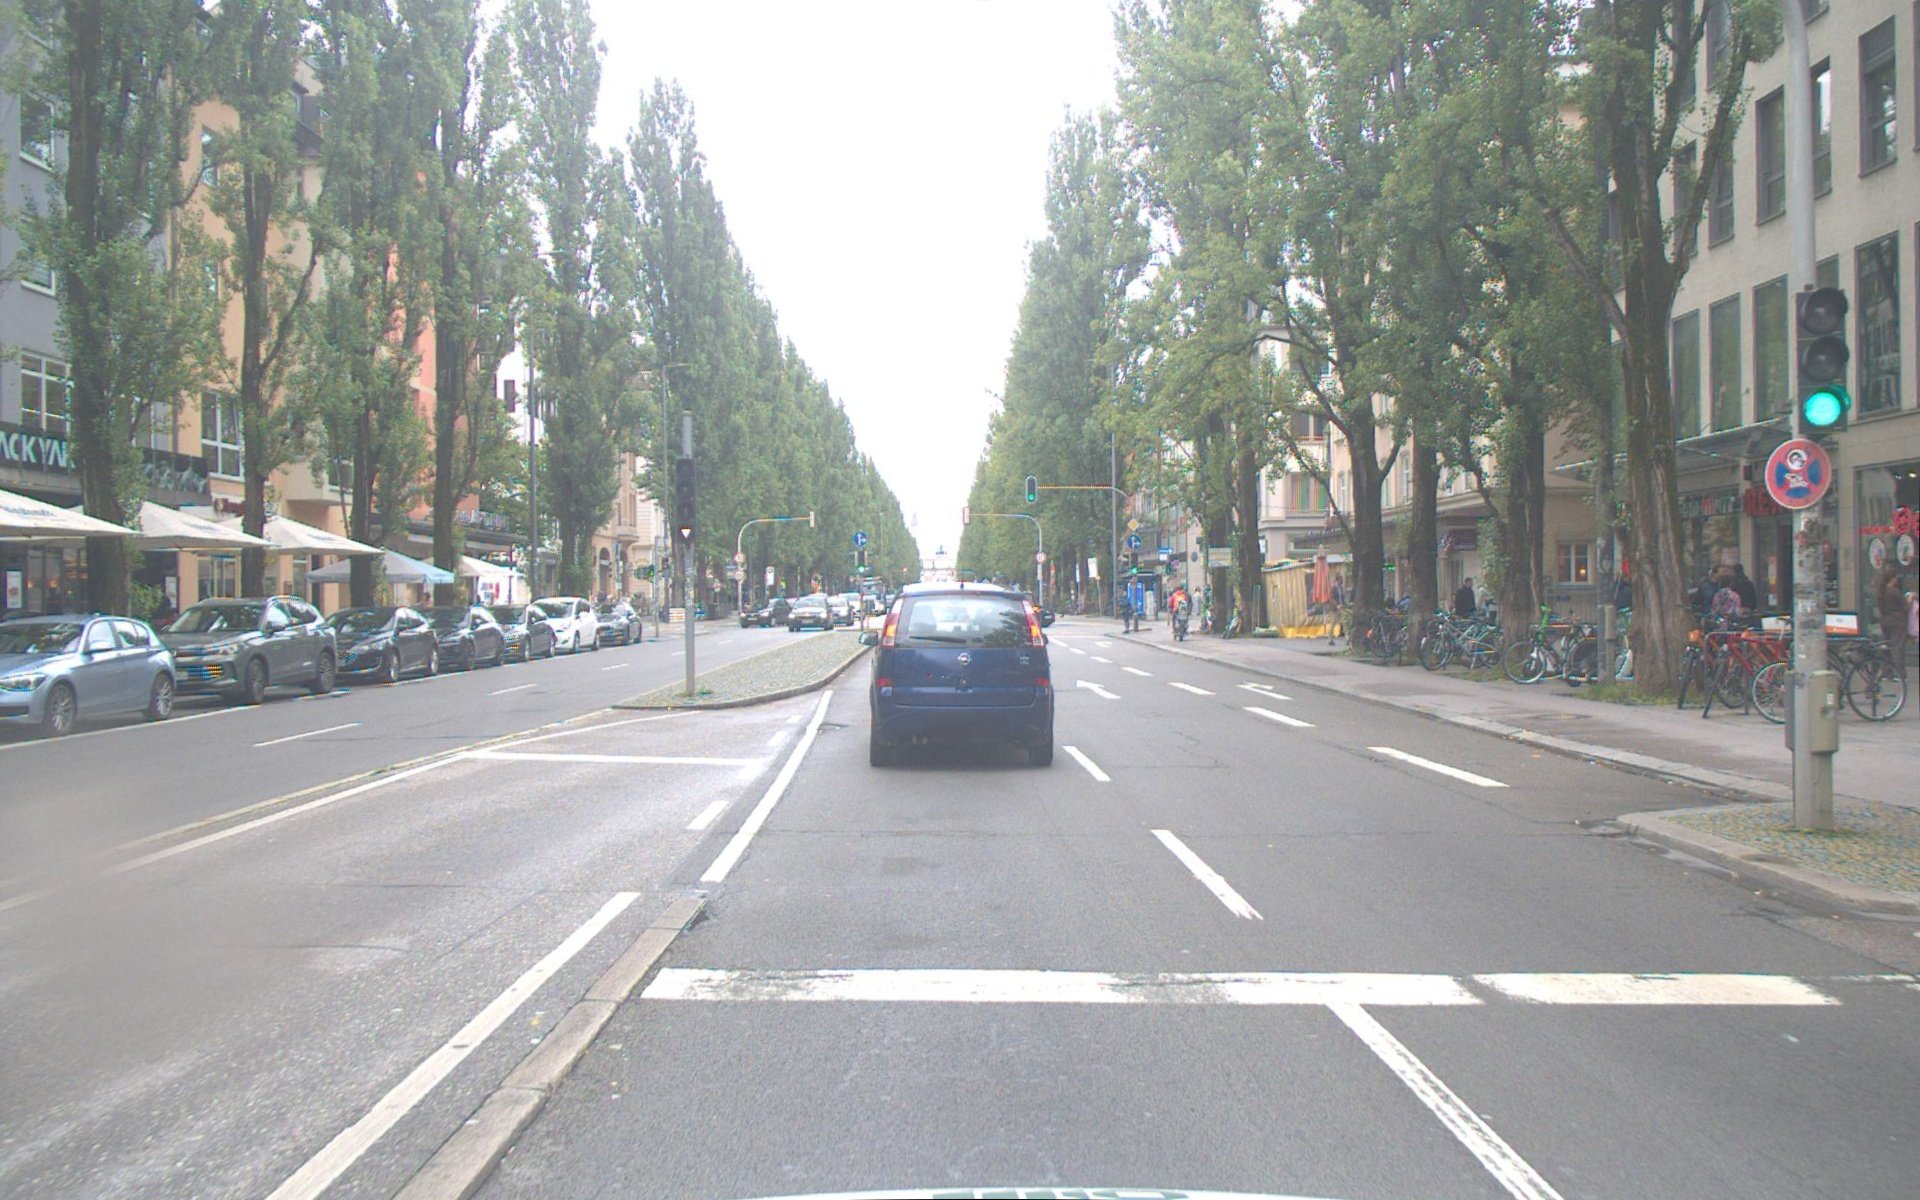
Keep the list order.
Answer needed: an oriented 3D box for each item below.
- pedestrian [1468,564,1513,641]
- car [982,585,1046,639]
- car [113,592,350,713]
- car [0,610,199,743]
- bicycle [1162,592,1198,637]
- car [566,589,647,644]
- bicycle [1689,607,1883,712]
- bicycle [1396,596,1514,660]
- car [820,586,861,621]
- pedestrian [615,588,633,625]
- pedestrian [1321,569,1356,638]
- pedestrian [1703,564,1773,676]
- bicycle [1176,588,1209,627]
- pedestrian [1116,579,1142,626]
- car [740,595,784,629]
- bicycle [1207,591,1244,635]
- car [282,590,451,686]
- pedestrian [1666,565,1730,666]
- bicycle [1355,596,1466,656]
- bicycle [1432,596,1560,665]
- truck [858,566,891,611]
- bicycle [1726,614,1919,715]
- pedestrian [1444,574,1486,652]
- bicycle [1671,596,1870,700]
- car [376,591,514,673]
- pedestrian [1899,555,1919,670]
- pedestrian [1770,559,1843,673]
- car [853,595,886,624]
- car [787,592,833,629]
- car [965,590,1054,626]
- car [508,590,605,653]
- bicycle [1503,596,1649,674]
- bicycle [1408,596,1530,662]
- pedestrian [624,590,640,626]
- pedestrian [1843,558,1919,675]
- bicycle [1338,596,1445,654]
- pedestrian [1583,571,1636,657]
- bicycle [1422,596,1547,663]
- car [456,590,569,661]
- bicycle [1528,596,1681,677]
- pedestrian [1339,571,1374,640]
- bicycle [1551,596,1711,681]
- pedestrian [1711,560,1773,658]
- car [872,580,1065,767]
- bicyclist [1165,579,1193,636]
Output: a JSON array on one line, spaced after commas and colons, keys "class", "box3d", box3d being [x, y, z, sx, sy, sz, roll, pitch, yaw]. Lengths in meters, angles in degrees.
[{"class": "pedestrian", "box3d": [12.926, 0.065, 40.307, 0.706, 1.859, 0.885, 1, 0, -11]}, {"class": "car", "box3d": [1.685, 0.352, 52.435, 1.858, 1.650, 4.000, 0, 0, -1]}, {"class": "car", "box3d": [-11.501, 0.762, 26.463, 1.828, 1.694, 4.400, -2, 0, -1]}, {"class": "car", "box3d": [-11.413, 0.907, 20.851, 1.698, 1.450, 4.143, -2, 0, -1]}, {"class": "bicycle", "box3d": [6.945, 0.444, 52.346, 0.757, 1.372, 2.449, -1, 0, -1]}, {"class": "car", "box3d": [-11.877, 0.528, 55.857, 1.828, 1.694, 4.119, -2, 0, -1]}, {"class": "bicycle", "box3d": [9.634, 0.685, 19.314, 1.955, 1.153, 0.626, -1, 0, -3]}, {"class": "bicycle", "box3d": [9.950, 0.563, 33.291, 2.182, 1.225, 0.626, -1, 0, -3]}, {"class": "car", "box3d": [-6.092, 0.157, 84.446, 1.828, 1.695, 4.119, -1, 0, -1]}, {"class": "pedestrian", "box3d": [-16.479, 0.334, 81.193, 0.755, 1.797, 0.881, -1, 0, -18]}, {"class": "pedestrian", "box3d": [10.316, 0.101, 45.091, 0.625, 1.859, 0.885, 1, 0, -11]}, {"class": "pedestrian", "box3d": [12.165, 0.306, 25.891, 0.660, 1.715, 0.758, -1, -1, -5]}, {"class": "bicycle", "box3d": [8.320, 0.249, 59.297, 0.757, 1.372, 2.449, -1, 0, -1]}, {"class": "pedestrian", "box3d": [6.592, 0.085, 64.598, 0.865, 1.797, 0.769, -1, 0, -4]}, {"class": "car", "box3d": [-10.399, 0.600, 86.986, 1.828, 1.695, 4.119, -1, 0, -1]}, {"class": "bicycle", "box3d": [8.620, 0.413, 53.775, 0.757, 1.372, 2.449, -1, 0, -1]}, {"class": "car", "box3d": [-11.568, 0.690, 32.532, 1.828, 1.694, 4.119, -2, 0, -1]}, {"class": "pedestrian", "box3d": [13.822, 0.280, 31.010, 0.706, 1.859, 0.885, 1, 0, -11]}, {"class": "bicycle", "box3d": [9.629, 0.554, 35.403, 2.182, 1.225, 0.626, -1, 0, -3]}, {"class": "bicycle", "box3d": [9.998, 0.556, 30.889, 2.182, 1.225, 0.626, -1, 0, -3]}, {"class": "truck", "box3d": [-6.746, -0.903, 131.307, 2.334, 3.405, 7.110, -1, 0, -1]}, {"class": "bicycle", "box3d": [9.647, 0.705, 18.404, 1.955, 1.051, 0.626, -1, 0, -3]}, {"class": "pedestrian", "box3d": [12.236, 0.305, 40.108, 0.625, 1.859, 0.885, 1, 0, -11]}, {"class": "bicycle", "box3d": [10.081, 0.586, 20.599, 2.182, 1.225, 0.626, -1, 0, -3]}, {"class": "car", "box3d": [-11.686, 0.680, 37.797, 1.828, 1.694, 4.119, -2, 0, -1]}, {"class": "pedestrian", "box3d": [14.596, 0.176, 24.566, 0.781, 1.707, 0.877, -1, -1, 4]}, {"class": "pedestrian", "box3d": [13.113, 0.246, 25.634, 0.740, 1.715, 0.675, -1, -1, 1]}, {"class": "car", "box3d": [-5.488, 0.582, 100.522, 1.828, 1.695, 4.119, -1, 0, -1]}, {"class": "car", "box3d": [-6.432, 0.436, 71.176, 1.699, 1.491, 3.365, -1, 0, -1]}, {"class": "car", "box3d": [2.348, 0.354, 77.718, 3.902, 1.650, 1.904, 0, 0, 11]}, {"class": "car", "box3d": [-11.787, 0.585, 48.583, 1.828, 1.694, 4.119, -2, 0, -1]}, {"class": "bicycle", "box3d": [10.202, 0.566, 27.405, 2.182, 1.225, 0.626, -1, 0, -3]}, {"class": "bicycle", "box3d": [9.990, 0.560, 32.496, 2.182, 1.225, 0.626, -1, 0, -3]}, {"class": "pedestrian", "box3d": [-16.628, 0.414, 83.816, 0.754, 1.797, 0.882, -1, 0, -12]}, {"class": "pedestrian", "box3d": [13.764, 0.244, 24.724, 0.740, 1.715, 0.675, -1, -1, 4]}, {"class": "bicycle", "box3d": [9.587, 0.552, 36.781, 2.182, 1.225, 0.626, -1, 0, -3]}, {"class": "pedestrian", "box3d": [14.216, 0.303, 36.201, 0.706, 1.859, 0.885, 1, 0, -11]}, {"class": "bicycle", "box3d": [10.049, 0.557, 31.698, 2.182, 1.225, 0.626, -1, 0, -3]}, {"class": "car", "box3d": [-11.653, 0.634, 43.324, 1.828, 1.694, 4.119, -2, 0, -1]}, {"class": "bicycle", "box3d": [10.250, 0.573, 26.322, 2.182, 1.225, 0.626, -1, 0, -3]}, {"class": "pedestrian", "box3d": [10.943, 0.148, 45.688, 0.625, 1.859, 0.885, 1, 0, -11]}, {"class": "bicycle", "box3d": [10.221, 0.579, 25.210, 2.182, 1.225, 0.626, -1, 0, -3]}, {"class": "pedestrian", "box3d": [15.200, 0.179, 32.168, 0.706, 1.859, 0.885, 1, 0, -11]}, {"class": "car", "box3d": [0.061, 0.613, 16.080, 1.637, 1.596, 4.000, 0, 0, -1]}, {"class": "bicyclist", "box3d": [6.944, 0.236, 52.435, 0.752, 1.797, 0.885, -1, 0, -1]}]
